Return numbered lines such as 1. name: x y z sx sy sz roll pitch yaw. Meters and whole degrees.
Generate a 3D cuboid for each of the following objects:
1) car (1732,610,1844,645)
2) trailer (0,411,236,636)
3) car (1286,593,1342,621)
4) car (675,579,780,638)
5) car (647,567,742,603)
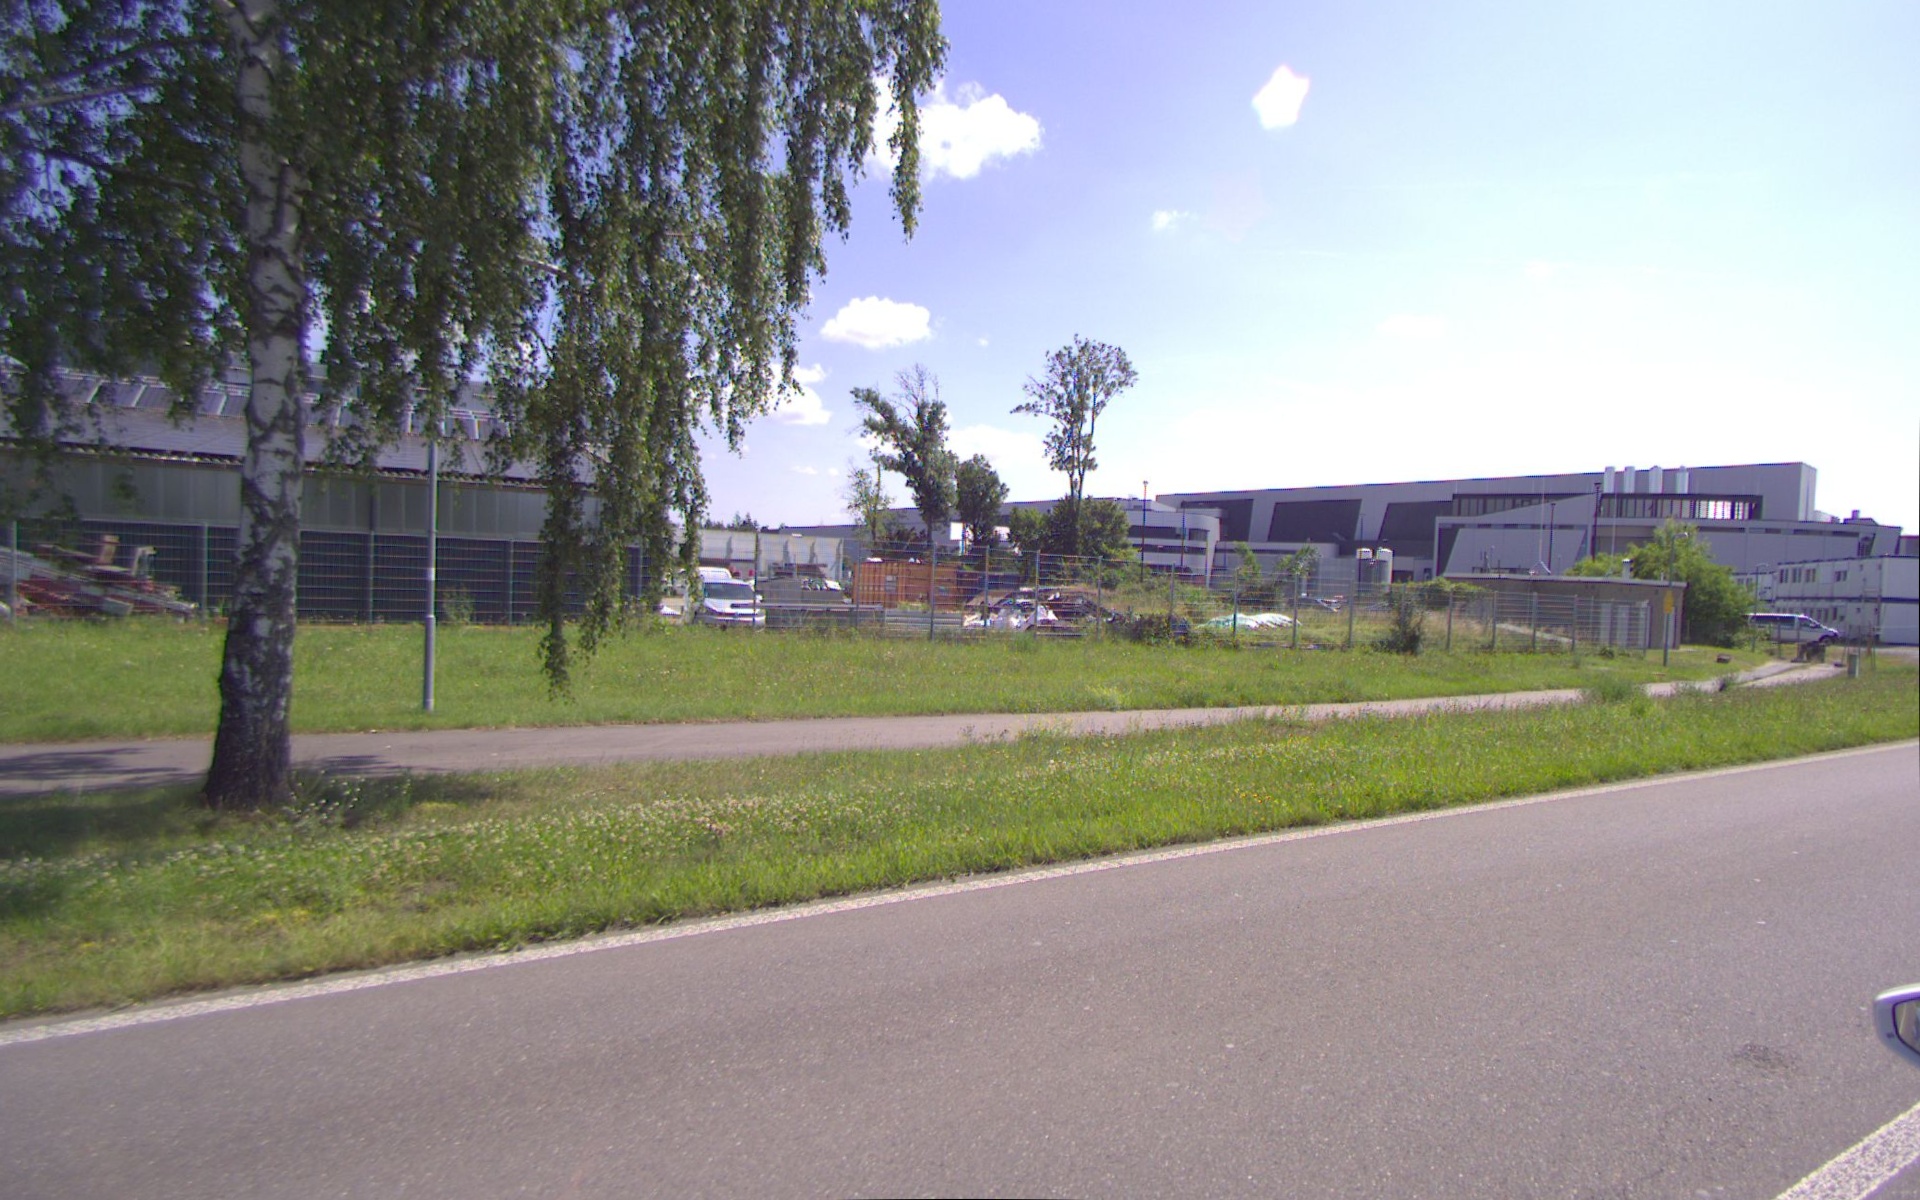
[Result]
1. car: 51.846 1.697 63.010 4.923 1.892 1.999 3 2 21
2. trailer: -18.054 -1.333 17.312 8.551 3.693 3.385 2 0 -28
3. car: 27.699 0.568 78.748 3.919 2.040 2.001 2 0 16
4. car: -6.105 0.174 26.055 1.725 1.361 3.971 1 1 -27
5. car: -16.509 -0.937 62.615 5.465 2.038 1.732 1 1 -32
